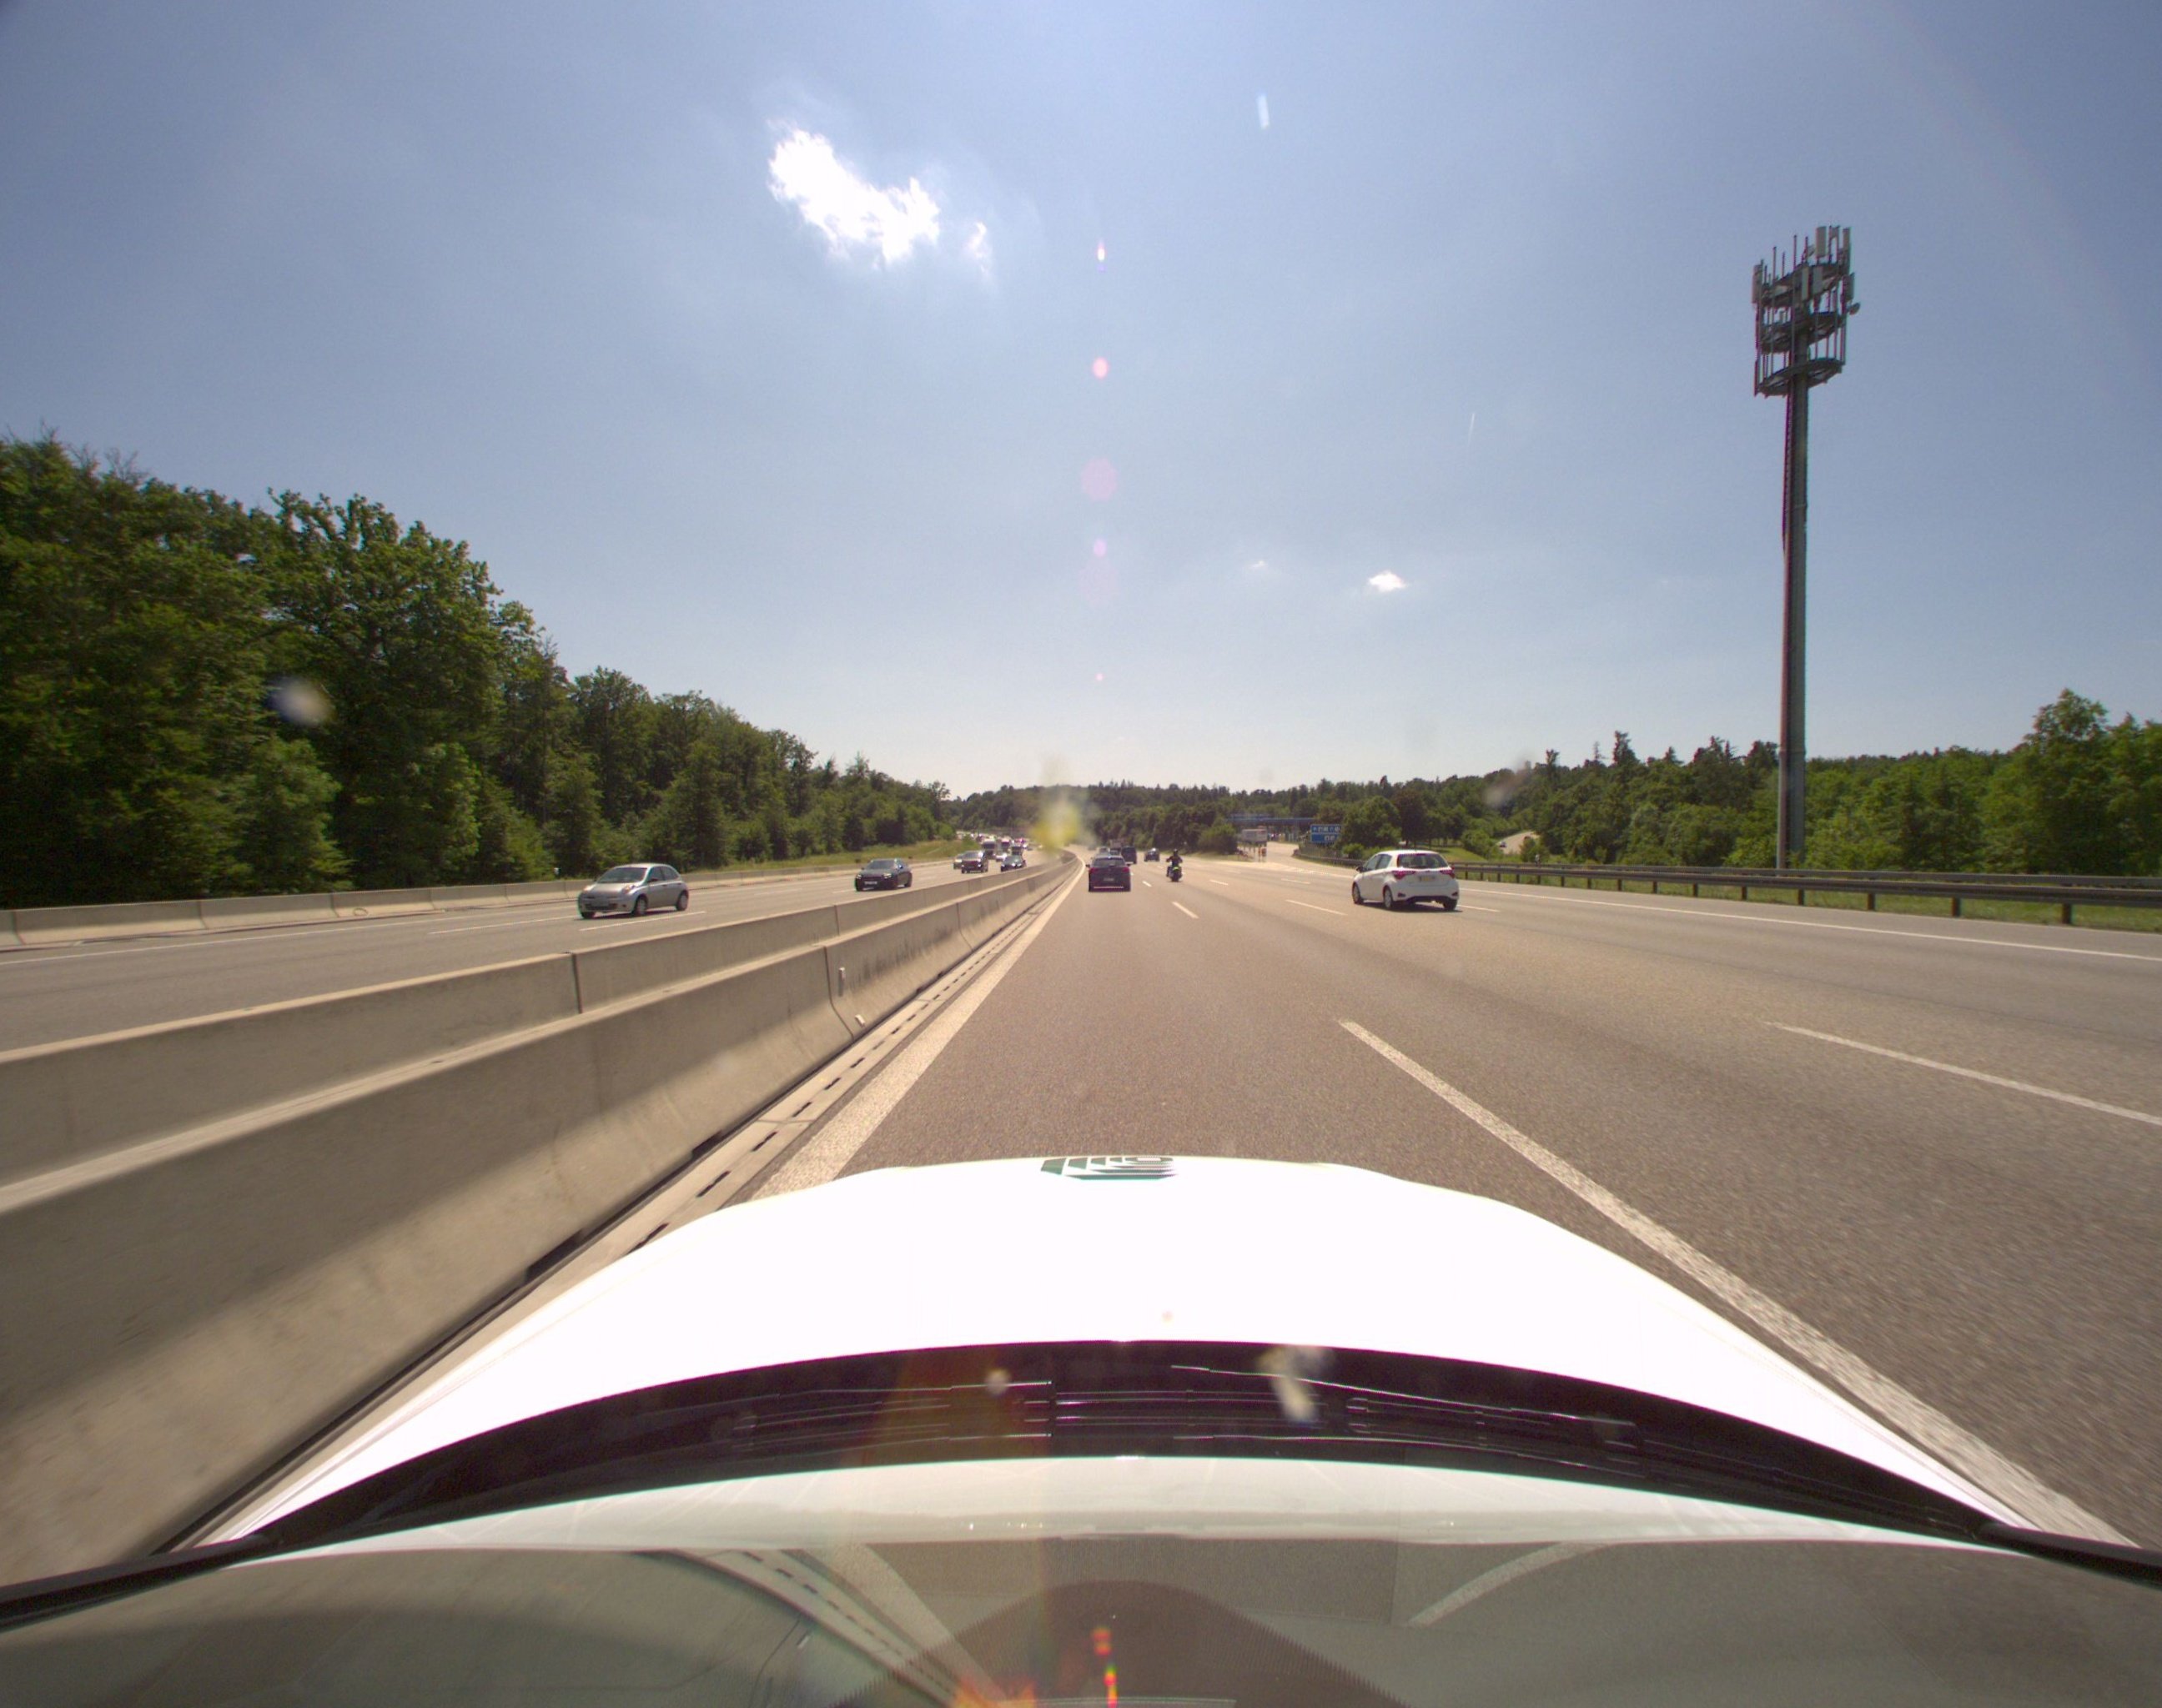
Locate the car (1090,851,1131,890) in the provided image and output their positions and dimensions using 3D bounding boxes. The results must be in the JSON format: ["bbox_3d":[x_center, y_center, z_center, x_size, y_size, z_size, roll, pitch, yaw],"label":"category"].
[{"bbox_3d":[1.254,0.633,33.709,1.617,1.487,3.688,-1,0,3],"label":"car"}]

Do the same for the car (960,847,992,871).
[{"bbox_3d":[-9.054,0.412,70.724,1.866,1.940,5.776,-1,0,1],"label":"car"}]

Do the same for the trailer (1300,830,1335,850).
[{"bbox_3d":[50.534,-3.047,173.548,3.128,3.636,13.710,-1,2,34],"label":"trailer"}]

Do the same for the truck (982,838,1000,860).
[{"bbox_3d":[-17.327,-0.994,157.790,2.673,4.177,6.231,-1,0,0],"label":"truck"}]

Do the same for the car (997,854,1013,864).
[{"bbox_3d":[-12.061,0.734,129.368,1.866,1.480,4.814,-1,0,1],"label":"car"}]

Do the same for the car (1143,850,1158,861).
[{"bbox_3d":[8.970,0.172,104.990,1.669,1.431,3.687,1,0,2],"label":"car"}]

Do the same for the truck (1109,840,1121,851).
[{"bbox_3d":[8.887,-2.368,214.258,2.719,2.786,5.680,2,1,-1],"label":"truck"}]

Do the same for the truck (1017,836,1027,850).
[{"bbox_3d":[-18.125,-3.467,249.869,2.494,4.350,6.602,-1,1,-1],"label":"truck"}]

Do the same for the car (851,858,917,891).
[{"bbox_3d":[-9.574,0.950,40.014,1.865,1.476,5.113,-1,0,2],"label":"car"}]

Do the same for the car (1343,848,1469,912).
[{"bbox_3d":[8.362,0.619,21.411,1.660,1.433,4.378,-3,0,2],"label":"car"}]

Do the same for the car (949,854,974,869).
[{"bbox_3d":[-12.990,0.833,89.063,1.866,1.534,4.814,-2,0,1],"label":"car"}]

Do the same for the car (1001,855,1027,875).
[{"bbox_3d":[-5.346,0.860,65.562,1.595,1.468,4.506,-1,0,1],"label":"car"}]

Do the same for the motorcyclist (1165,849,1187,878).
[{"bbox_3d":[4.875,0.457,41.915,0.959,1.437,1.234,-1,1,-2],"label":"motorcyclist"}]

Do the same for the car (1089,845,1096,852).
[{"bbox_3d":[3.358,-1.752,242.317,1.988,2.013,4.672,2,1,-1],"label":"car"}]

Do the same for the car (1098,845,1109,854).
[{"bbox_3d":[4.694,-0.986,168.406,1.988,1.683,4.421,2,1,-1],"label":"car"}]

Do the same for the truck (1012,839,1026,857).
[{"bbox_3d":[-14.549,-1.346,191.848,2.522,4.177,9.620,-1,0,1],"label":"truck"}]

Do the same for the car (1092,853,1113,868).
[{"bbox_3d":[1.862,0.556,70.837,1.777,1.265,3.460,-1,0,0],"label":"car"}]

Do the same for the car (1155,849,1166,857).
[{"bbox_3d":[13.573,-0.168,138.778,1.603,1.212,3.461,-1,0,1],"label":"car"}]

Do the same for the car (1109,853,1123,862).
[{"bbox_3d":[5.196,0.494,121.991,1.837,1.222,4.222,2,1,-1],"label":"car"}]

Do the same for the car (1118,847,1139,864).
[{"bbox_3d":[5.464,0.182,93.650,2.091,1.851,4.079,-1,0,-1],"label":"car"}]

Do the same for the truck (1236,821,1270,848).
[{"bbox_3d":[42.596,-4.695,202.257,5.488,6.266,15.435,-1,0,1],"label":"truck"}]

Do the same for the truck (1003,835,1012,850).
[{"bbox_3d":[-21.089,-3.297,233.819,2.495,4.350,6.598,-1,1,-3],"label":"truck"}]

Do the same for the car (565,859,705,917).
[{"bbox_3d":[-13.407,0.964,24.791,1.866,1.534,4.137,-1,0,1],"label":"car"}]

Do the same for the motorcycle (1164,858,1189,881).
[{"bbox_3d":[4.897,0.771,42.002,0.974,1.129,2.270,-1,0,-1],"label":"motorcycle"}]

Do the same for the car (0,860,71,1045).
[{"bbox_3d":[-10.114,0.848,4.976,1.825,1.561,4.778,-1,0,2],"label":"car"}]
